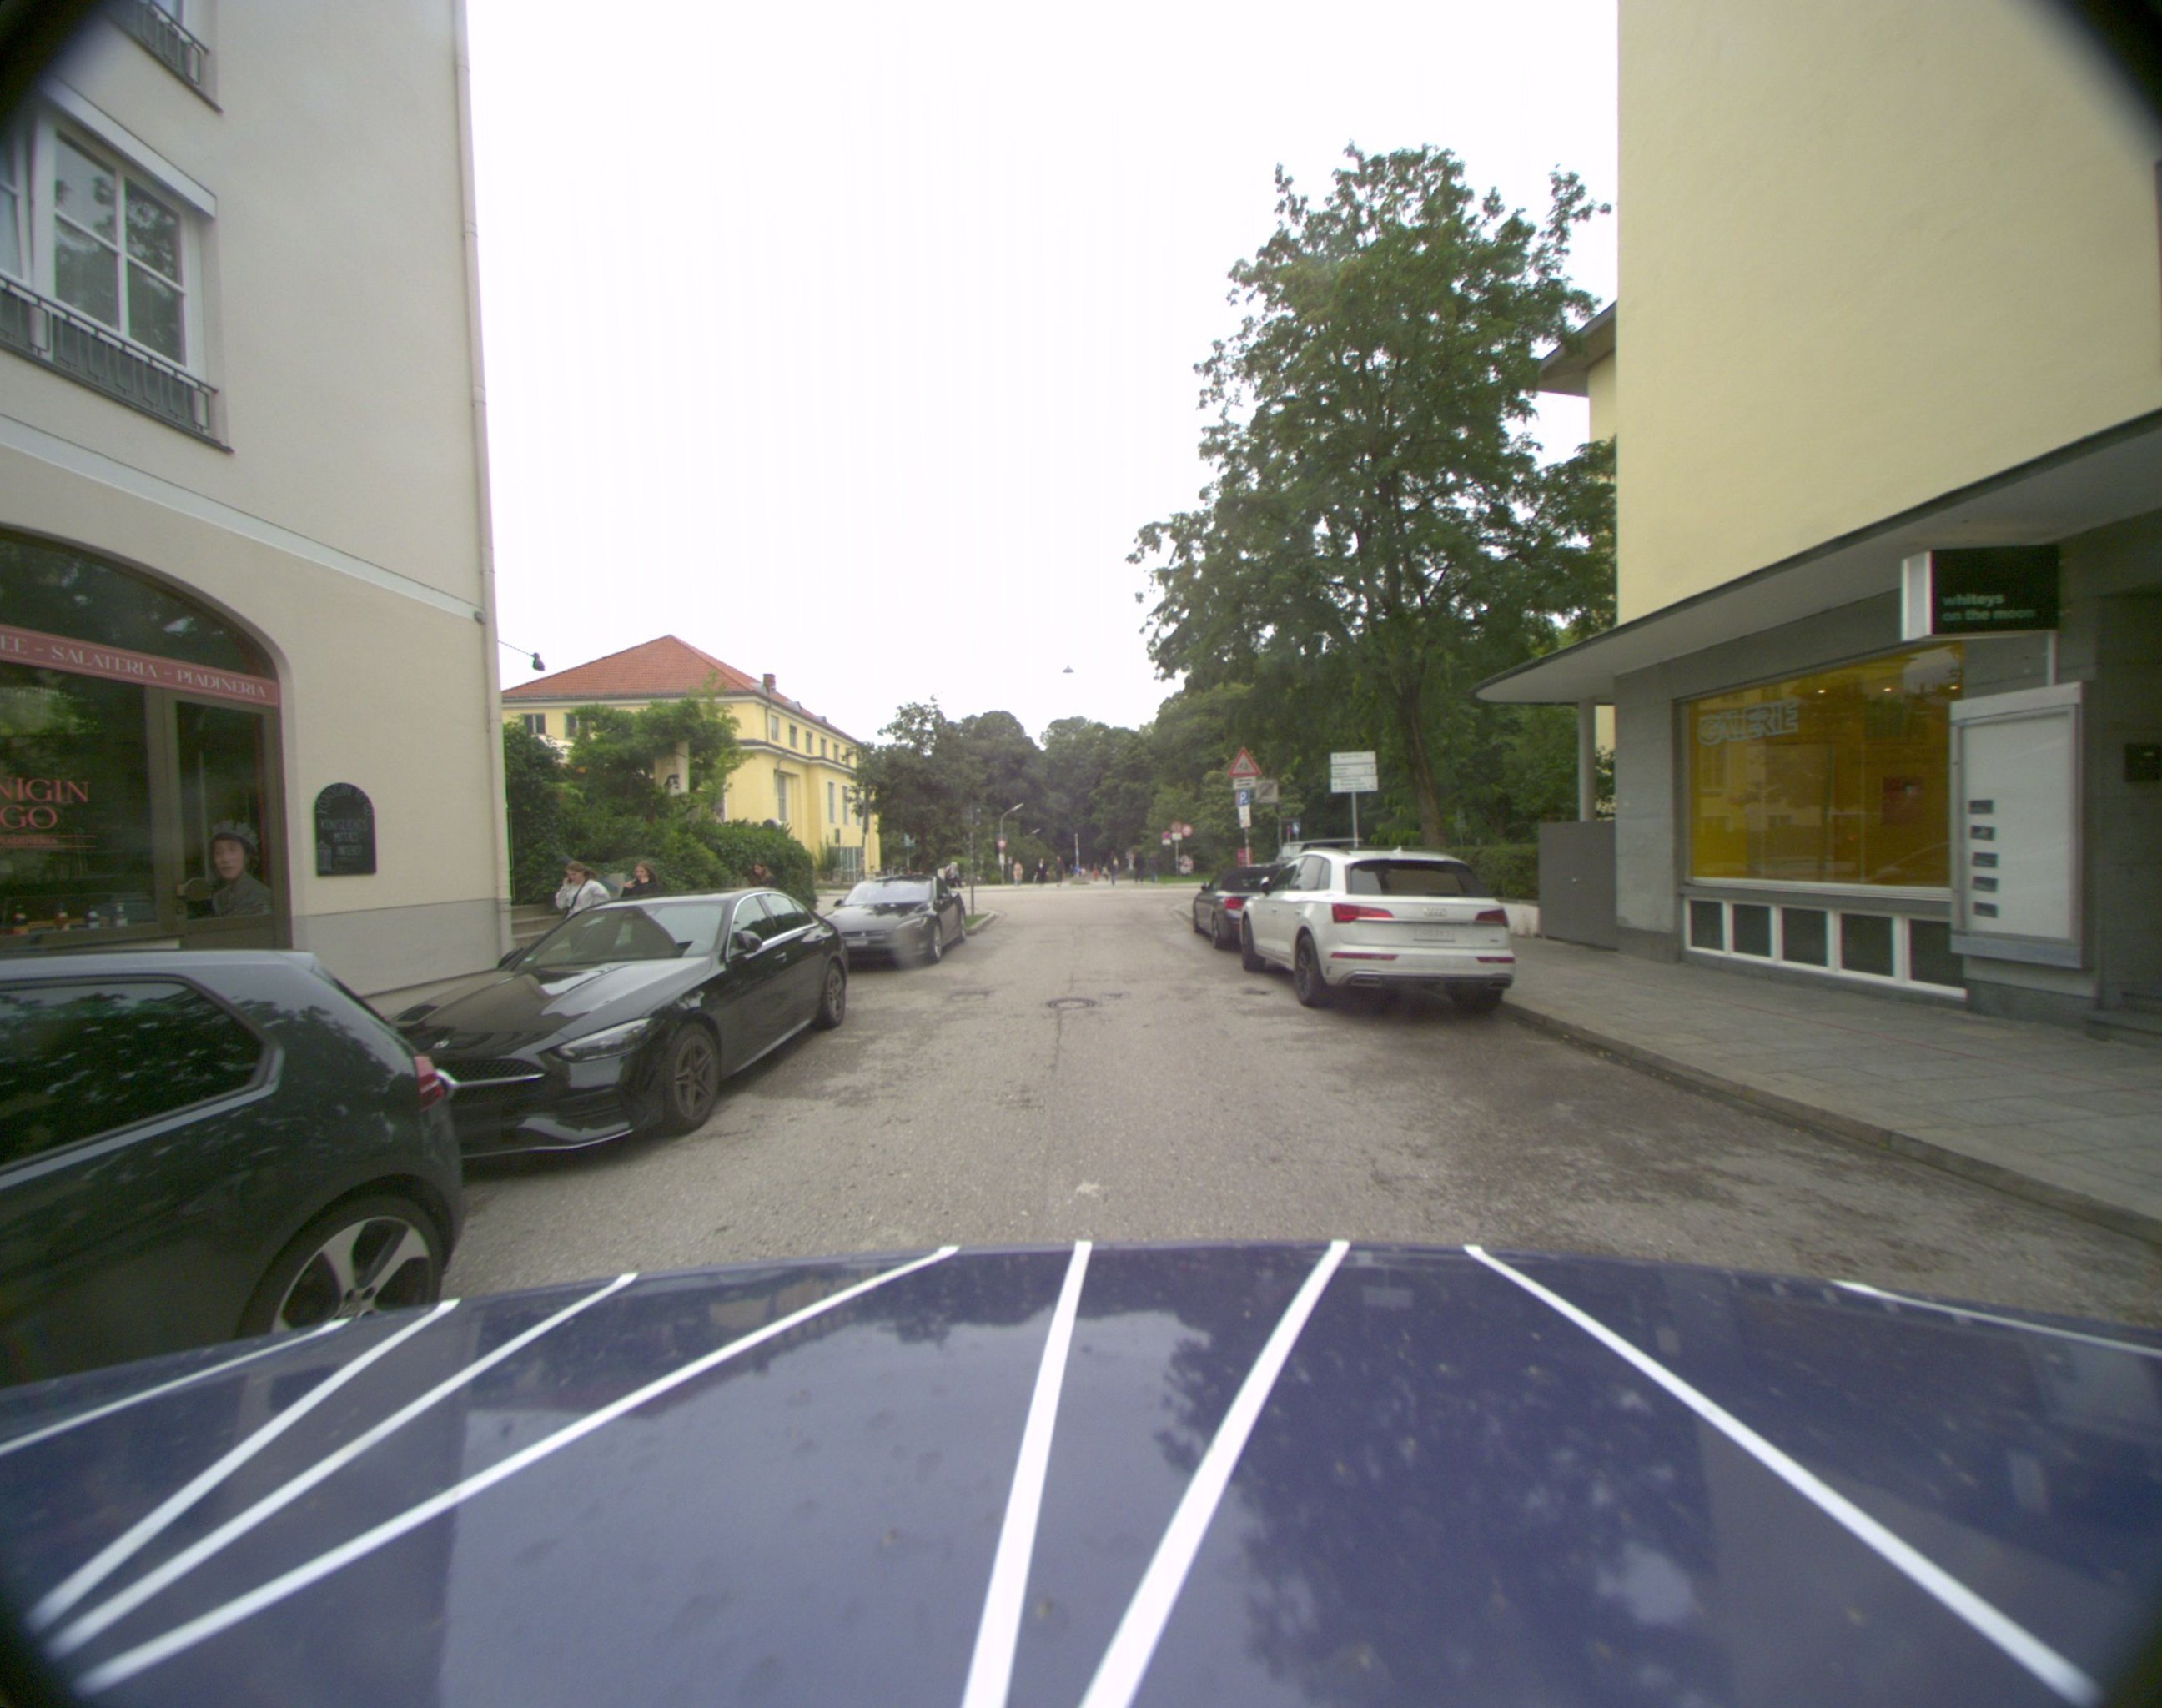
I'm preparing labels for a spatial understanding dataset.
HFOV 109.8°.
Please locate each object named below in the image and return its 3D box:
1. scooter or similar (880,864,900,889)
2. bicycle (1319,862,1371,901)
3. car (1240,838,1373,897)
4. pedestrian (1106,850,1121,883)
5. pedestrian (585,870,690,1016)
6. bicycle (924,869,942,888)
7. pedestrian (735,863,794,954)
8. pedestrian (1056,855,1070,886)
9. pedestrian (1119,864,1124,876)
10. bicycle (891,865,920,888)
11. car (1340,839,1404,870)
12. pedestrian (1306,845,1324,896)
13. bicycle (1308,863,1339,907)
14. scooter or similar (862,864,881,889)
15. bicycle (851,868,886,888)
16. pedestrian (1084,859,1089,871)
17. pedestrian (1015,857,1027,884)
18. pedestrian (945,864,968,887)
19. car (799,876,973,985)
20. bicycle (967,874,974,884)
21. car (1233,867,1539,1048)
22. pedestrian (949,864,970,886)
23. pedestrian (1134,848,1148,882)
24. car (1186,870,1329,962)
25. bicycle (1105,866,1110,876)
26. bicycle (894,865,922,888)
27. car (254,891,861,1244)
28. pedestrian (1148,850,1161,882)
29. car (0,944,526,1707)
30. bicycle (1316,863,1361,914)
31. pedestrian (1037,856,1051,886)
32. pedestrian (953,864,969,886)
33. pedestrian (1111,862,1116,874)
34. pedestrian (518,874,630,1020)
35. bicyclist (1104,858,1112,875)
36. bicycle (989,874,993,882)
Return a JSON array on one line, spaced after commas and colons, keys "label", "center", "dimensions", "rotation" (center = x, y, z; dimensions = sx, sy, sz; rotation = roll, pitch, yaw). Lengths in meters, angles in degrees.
[{"label": "scooter or similar", "center": [-9.515, 1.120, 37.757], "dimensions": [1.114, 1.205, 0.324], "rotation": [-1, -1, 37]}, {"label": "bicycle", "center": [8.290, 0.857, 23.835], "dimensions": [1.956, 1.149, 0.582], "rotation": [-1, -1, -41]}, {"label": "car", "center": [8.426, 0.448, 28.478], "dimensions": [4.422, 1.990, 1.933], "rotation": [-1, 2, -15]}, {"label": "pedestrian", "center": [1.790, 0.690, 41.995], "dimensions": [0.751, 1.822, 1.115], "rotation": [0, -1, 0]}, {"label": "pedestrian", "center": [-5.385, 1.049, 9.283], "dimensions": [0.706, 1.652, 0.880], "rotation": [-1, 2, -1]}, {"label": "bicycle", "center": [-8.085, 1.351, 41.559], "dimensions": [0.307, 1.032, 1.657], "rotation": [0, -1, 15]}, {"label": "pedestrian", "center": [-5.904, 0.999, 14.227], "dimensions": [0.706, 1.613, 0.880], "rotation": [-1, 2, -1]}, {"label": "pedestrian", "center": [-0.994, 0.924, 42.304], "dimensions": [0.639, 1.662, 0.774], "rotation": [-3, -2, 1]}, {"label": "pedestrian", "center": [5.819, 2.245, 109.360], "dimensions": [0.686, 1.662, 0.774], "rotation": [-3, -2, 1]}, {"label": "bicycle", "center": [-9.144, 1.191, 39.738], "dimensions": [0.202, 1.184, 1.658], "rotation": [0, -2, 41]}, {"label": "car", "center": [20.984, 0.030, 54.825], "dimensions": [3.958, 2.093, 1.908], "rotation": [-1, 1, 31]}, {"label": "pedestrian", "center": [8.350, 0.585, 27.157], "dimensions": [0.560, 1.788, 0.641], "rotation": [-1, -1, 18]}, {"label": "bicycle", "center": [7.016, 0.878, 21.917], "dimensions": [0.582, 1.119, 2.301], "rotation": [-2, 0, 24]}, {"label": "scooter or similar", "center": [-10.361, 1.106, 37.619], "dimensions": [0.396, 1.240, 1.391], "rotation": [-1, -1, 9]}, {"label": "bicycle", "center": [-10.753, 1.238, 38.509], "dimensions": [1.656, 0.987, 0.248], "rotation": [1, -1, -24]}, {"label": "pedestrian", "center": [0.904, 1.673, 115.354], "dimensions": [0.686, 1.662, 0.774], "rotation": [-3, -2, 1]}, {"label": "pedestrian", "center": [-3.971, 1.103, 50.433], "dimensions": [0.653, 1.676, 0.976], "rotation": [-3, -2, 1]}, {"label": "pedestrian", "center": [-7.274, 1.266, 44.371], "dimensions": [1.217, 1.239, 0.639], "rotation": [-2, -2, -11]}, {"label": "car", "center": [-3.162, 1.174, 13.384], "dimensions": [1.807, 1.402, 4.656], "rotation": [-2, 0, 0]}, {"label": "bicycle", "center": [-7.929, 1.802, 54.682], "dimensions": [0.215, 0.671, 0.910], "rotation": [0, -1, 12]}, {"label": "car", "center": [3.104, 0.944, 8.816], "dimensions": [1.807, 1.574, 4.338], "rotation": [0, -1, 0]}, {"label": "pedestrian", "center": [-7.255, 1.262, 45.314], "dimensions": [1.178, 1.285, 0.639], "rotation": [-2, -2, -11]}, {"label": "pedestrian", "center": [3.305, 0.616, 41.760], "dimensions": [0.707, 1.892, 0.804], "rotation": [0, -1, 0]}, {"label": "car", "center": [3.127, 1.042, 14.294], "dimensions": [1.750, 1.402, 4.098], "rotation": [0, 0, 0]}, {"label": "bicycle", "center": [2.970, 1.847, 84.330], "dimensions": [0.483, 1.034, 1.946], "rotation": [-1, 0, 3]}, {"label": "bicycle", "center": [-9.005, 1.181, 39.597], "dimensions": [0.169, 1.191, 1.658], "rotation": [0, -2, 41]}, {"label": "car", "center": [-3.213, 1.155, 5.982], "dimensions": [1.650, 1.416, 4.509], "rotation": [-4, 0, -1]}, {"label": "pedestrian", "center": [4.045, 0.660, 41.661], "dimensions": [0.634, 1.771, 0.801], "rotation": [0, -1, 0]}, {"label": "car", "center": [-2.894, 1.088, 0.721], "dimensions": [1.680, 1.416, 4.203], "rotation": [-4, 0, -2]}, {"label": "bicycle", "center": [6.650, 0.856, 19.705], "dimensions": [0.563, 1.203, 1.854], "rotation": [-2, 1, 3]}, {"label": "pedestrian", "center": [-2.044, 0.953, 42.218], "dimensions": [0.686, 1.662, 0.774], "rotation": [-3, -2, 1]}, {"label": "pedestrian", "center": [-7.237, 1.273, 45.967], "dimensions": [0.887, 1.227, 0.550], "rotation": [-2, -2, -11]}, {"label": "pedestrian", "center": [4.547, 1.940, 106.394], "dimensions": [0.686, 1.662, 0.774], "rotation": [-3, -2, 1]}, {"label": "pedestrian", "center": [-6.142, 1.093, 9.256], "dimensions": [0.706, 1.652, 0.880], "rotation": [-1, 2, -1]}, {"label": "bicyclist", "center": [3.004, 1.412, 84.296], "dimensions": [0.856, 1.792, 0.766], "rotation": [-2, 1, 0]}, {"label": "bicycle", "center": [-7.831, 2.109, 66.219], "dimensions": [0.242, 0.653, 0.909], "rotation": [1, -1, 1]}]
